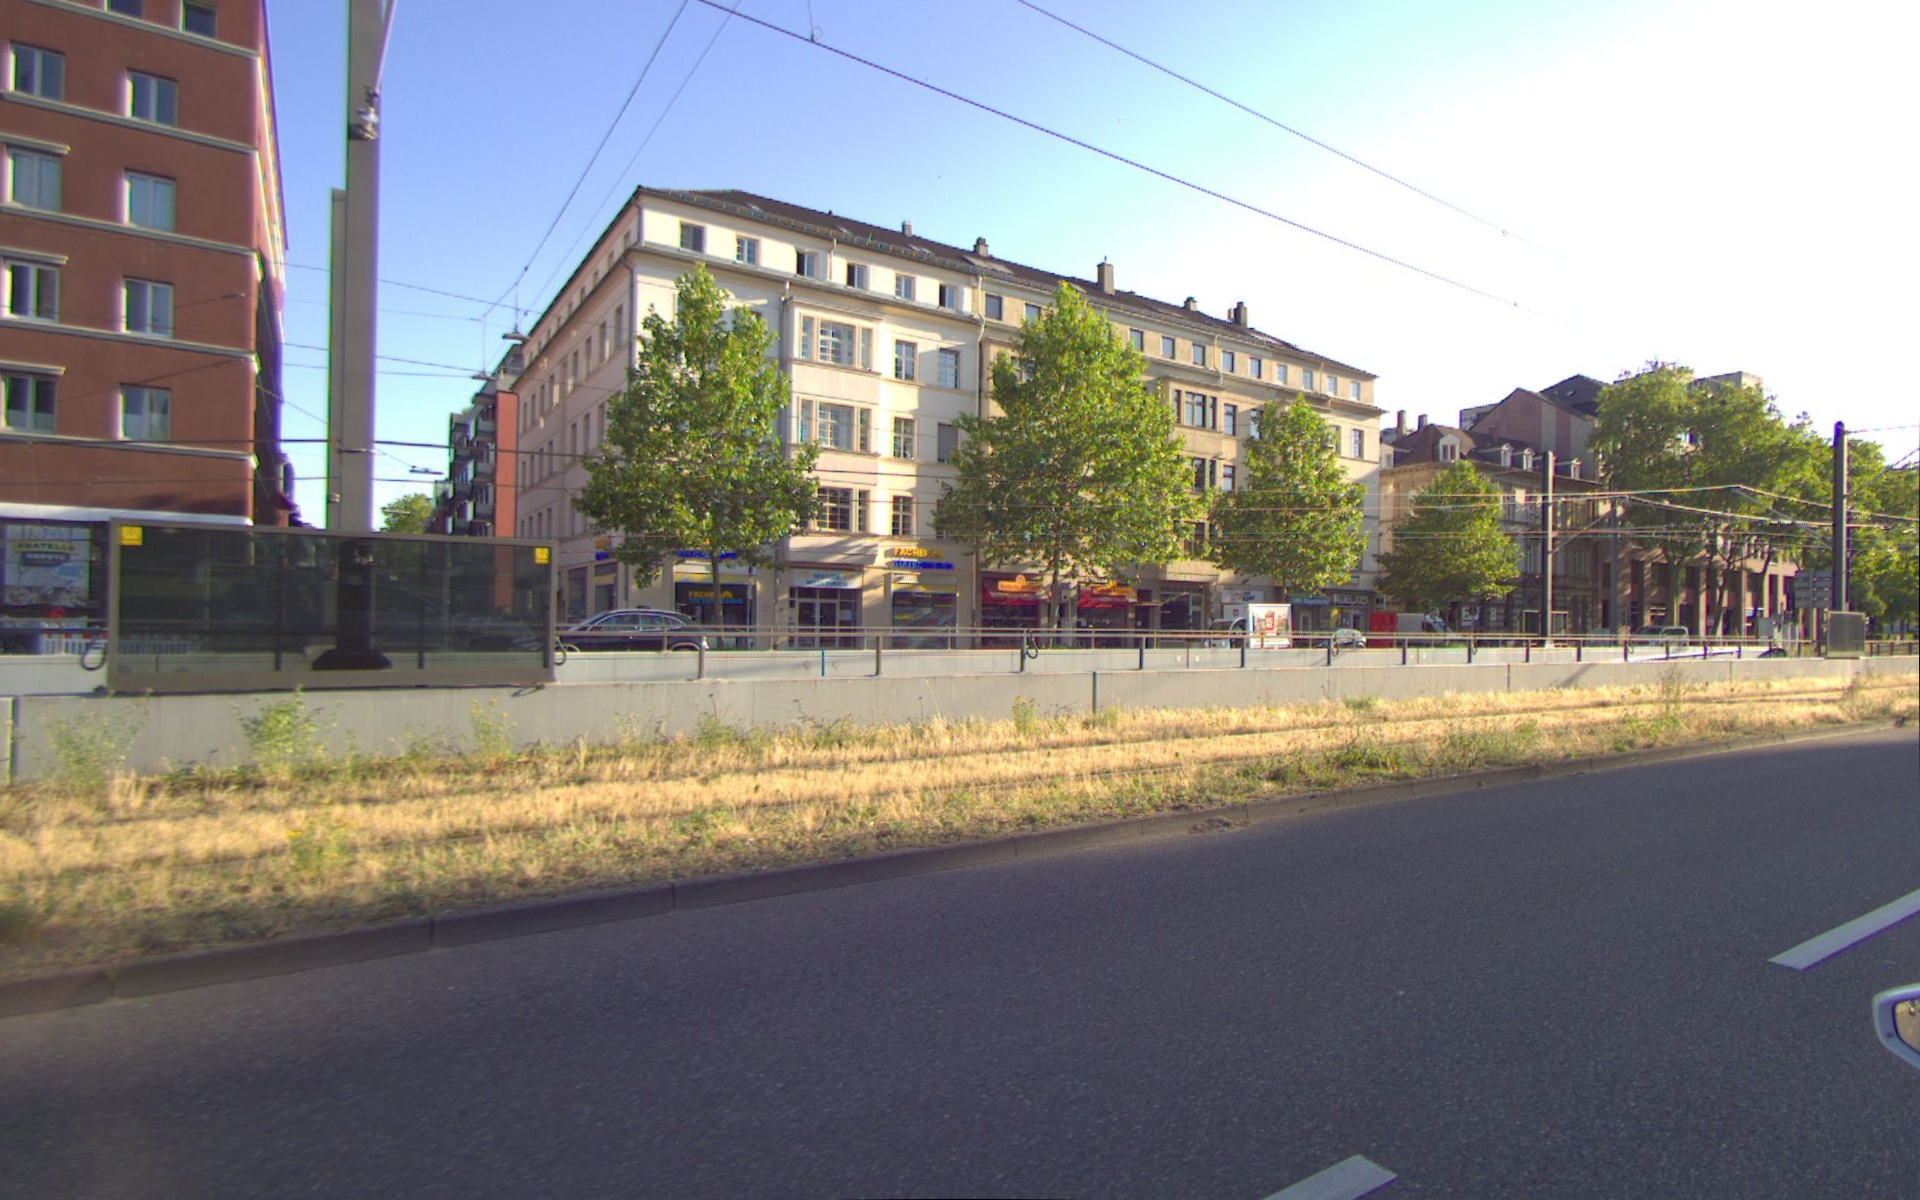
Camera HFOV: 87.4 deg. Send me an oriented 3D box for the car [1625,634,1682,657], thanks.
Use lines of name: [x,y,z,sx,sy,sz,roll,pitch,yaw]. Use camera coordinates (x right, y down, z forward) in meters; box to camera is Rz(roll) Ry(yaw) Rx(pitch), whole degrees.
car: [49.577,3.234,71.794,4.684,1.606,1.750,2,-2,-33]

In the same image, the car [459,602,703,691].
car: [-8.544,1.020,22.788,4.922,1.843,1.983,1,-1,-31]

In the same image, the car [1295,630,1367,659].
car: [18.848,2.251,50.962,3.669,1.350,1.446,2,0,-32]

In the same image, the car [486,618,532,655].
car: [-20.196,1.620,44.950,1.531,1.568,3.506,1,-1,-30]

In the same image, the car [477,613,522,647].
car: [-22.427,1.440,48.886,1.532,1.568,3.966,1,-1,-31]

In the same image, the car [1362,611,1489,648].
car: [29.948,1.863,64.921,2.448,2.296,7.213,2,-2,-37]

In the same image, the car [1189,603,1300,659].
car: [11.754,1.268,41.353,4.524,2.162,1.941,1,-1,-33]
